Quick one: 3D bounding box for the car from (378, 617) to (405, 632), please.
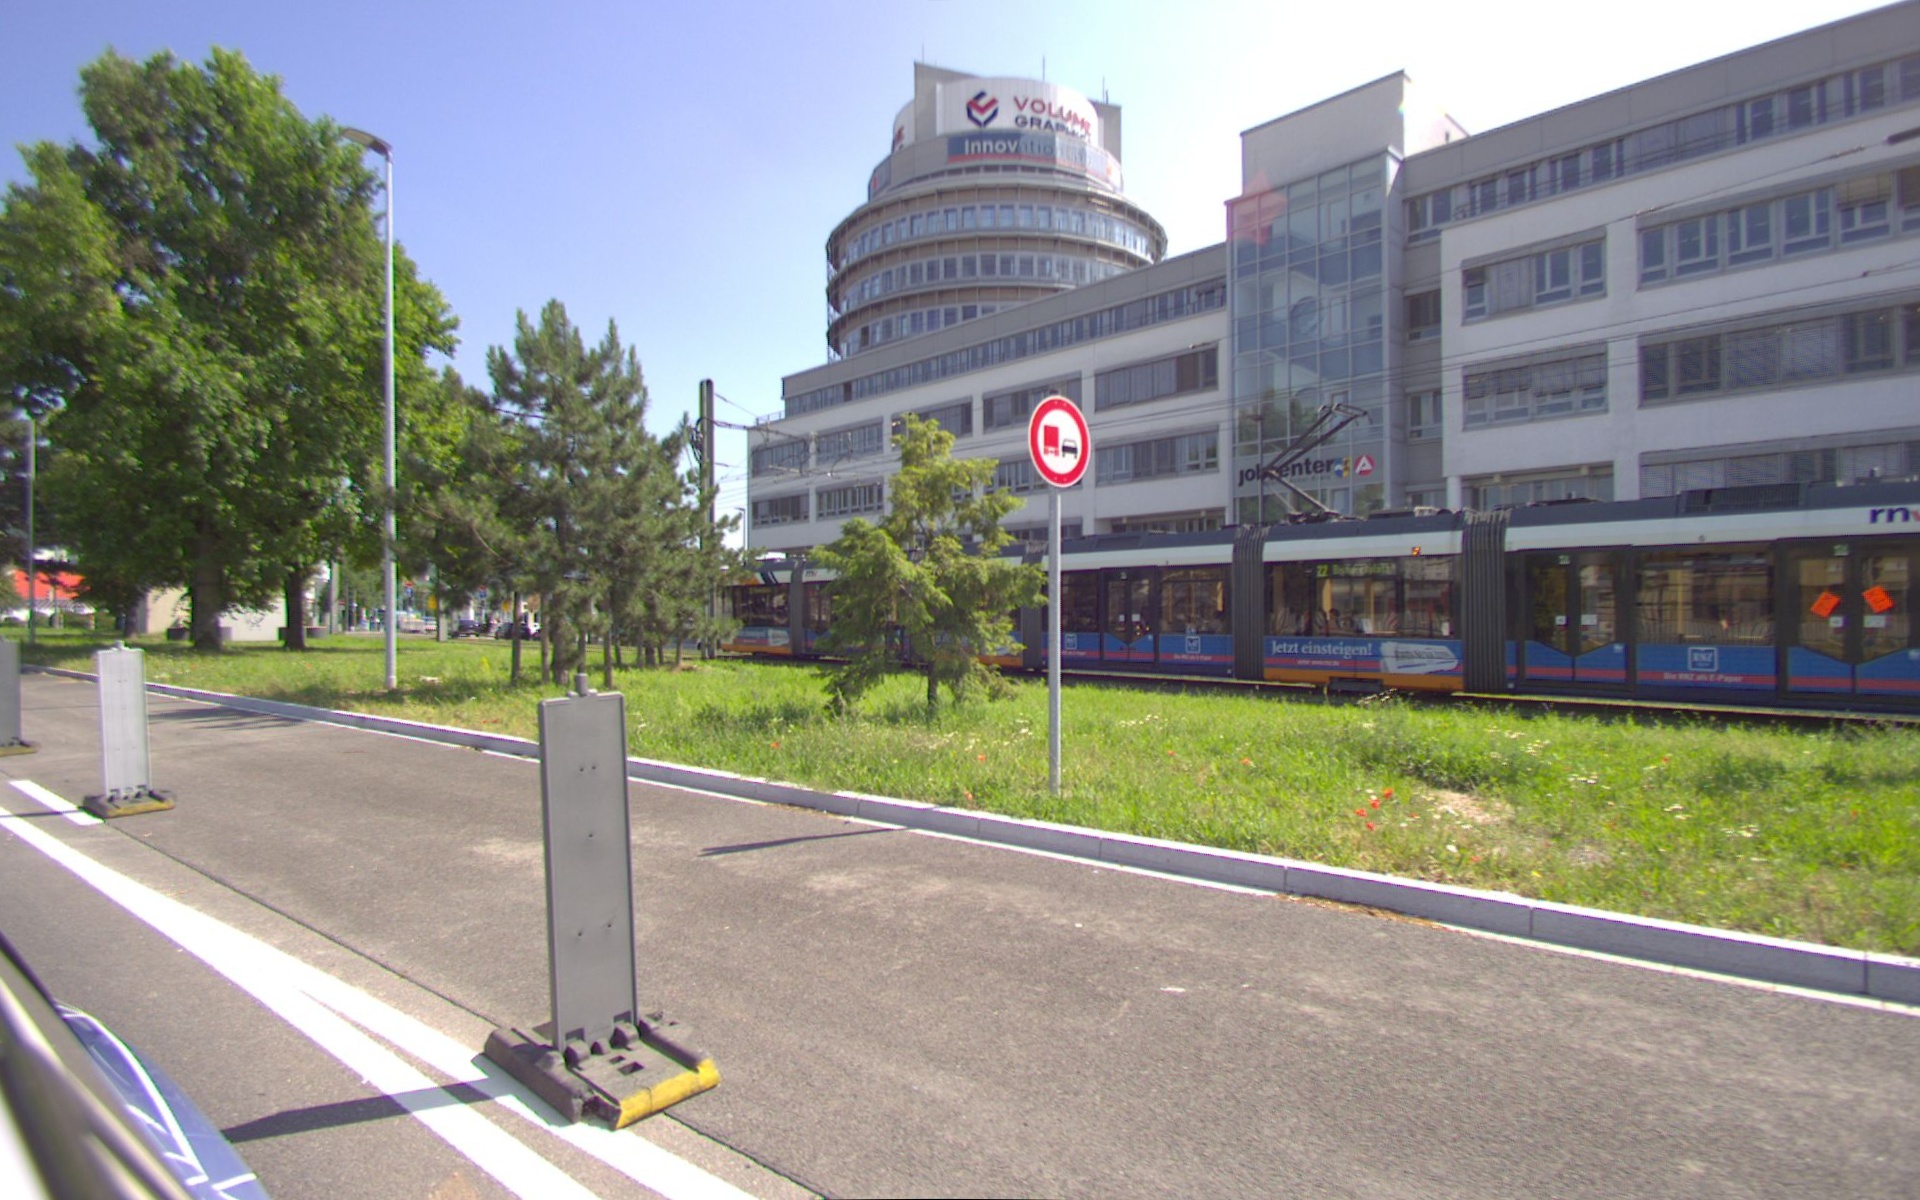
[{"bbox_3d":[-59.160,2.560,105.381,1.862,1.513,3.810,-1,0,-39],"label":"car"}]

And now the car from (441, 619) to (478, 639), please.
[{"bbox_3d":[-40.803,2.324,82.506,1.863,1.513,3.810,-1,0,-40],"label":"car"}]

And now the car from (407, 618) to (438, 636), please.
[{"bbox_3d":[-49.141,2.431,92.506,1.862,1.513,3.810,-1,0,-39],"label":"car"}]

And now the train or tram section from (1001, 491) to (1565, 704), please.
[{"bbox_3d":[5.953,0.031,21.730,2.593,3.476,11.795,-2,0,-42],"label":"train or tram section"}]

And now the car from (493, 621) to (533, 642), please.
[{"bbox_3d":[-32.270,2.277,72.980,1.862,1.386,3.812,-1,0,-37],"label":"car"}]

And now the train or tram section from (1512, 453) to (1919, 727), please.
[{"bbox_3d":[13.878,-0.174,12.880,2.593,3.476,11.795,-2,0,-42],"label":"train or tram section"}]

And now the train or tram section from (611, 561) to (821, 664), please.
[{"bbox_3d":[-9.848,0.483,39.402,2.593,3.476,11.795,-2,0,-42],"label":"train or tram section"}]

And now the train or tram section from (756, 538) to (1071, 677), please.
[{"bbox_3d":[-1.954,0.263,30.587,2.593,3.476,11.795,-2,0,-42],"label":"train or tram section"}]
